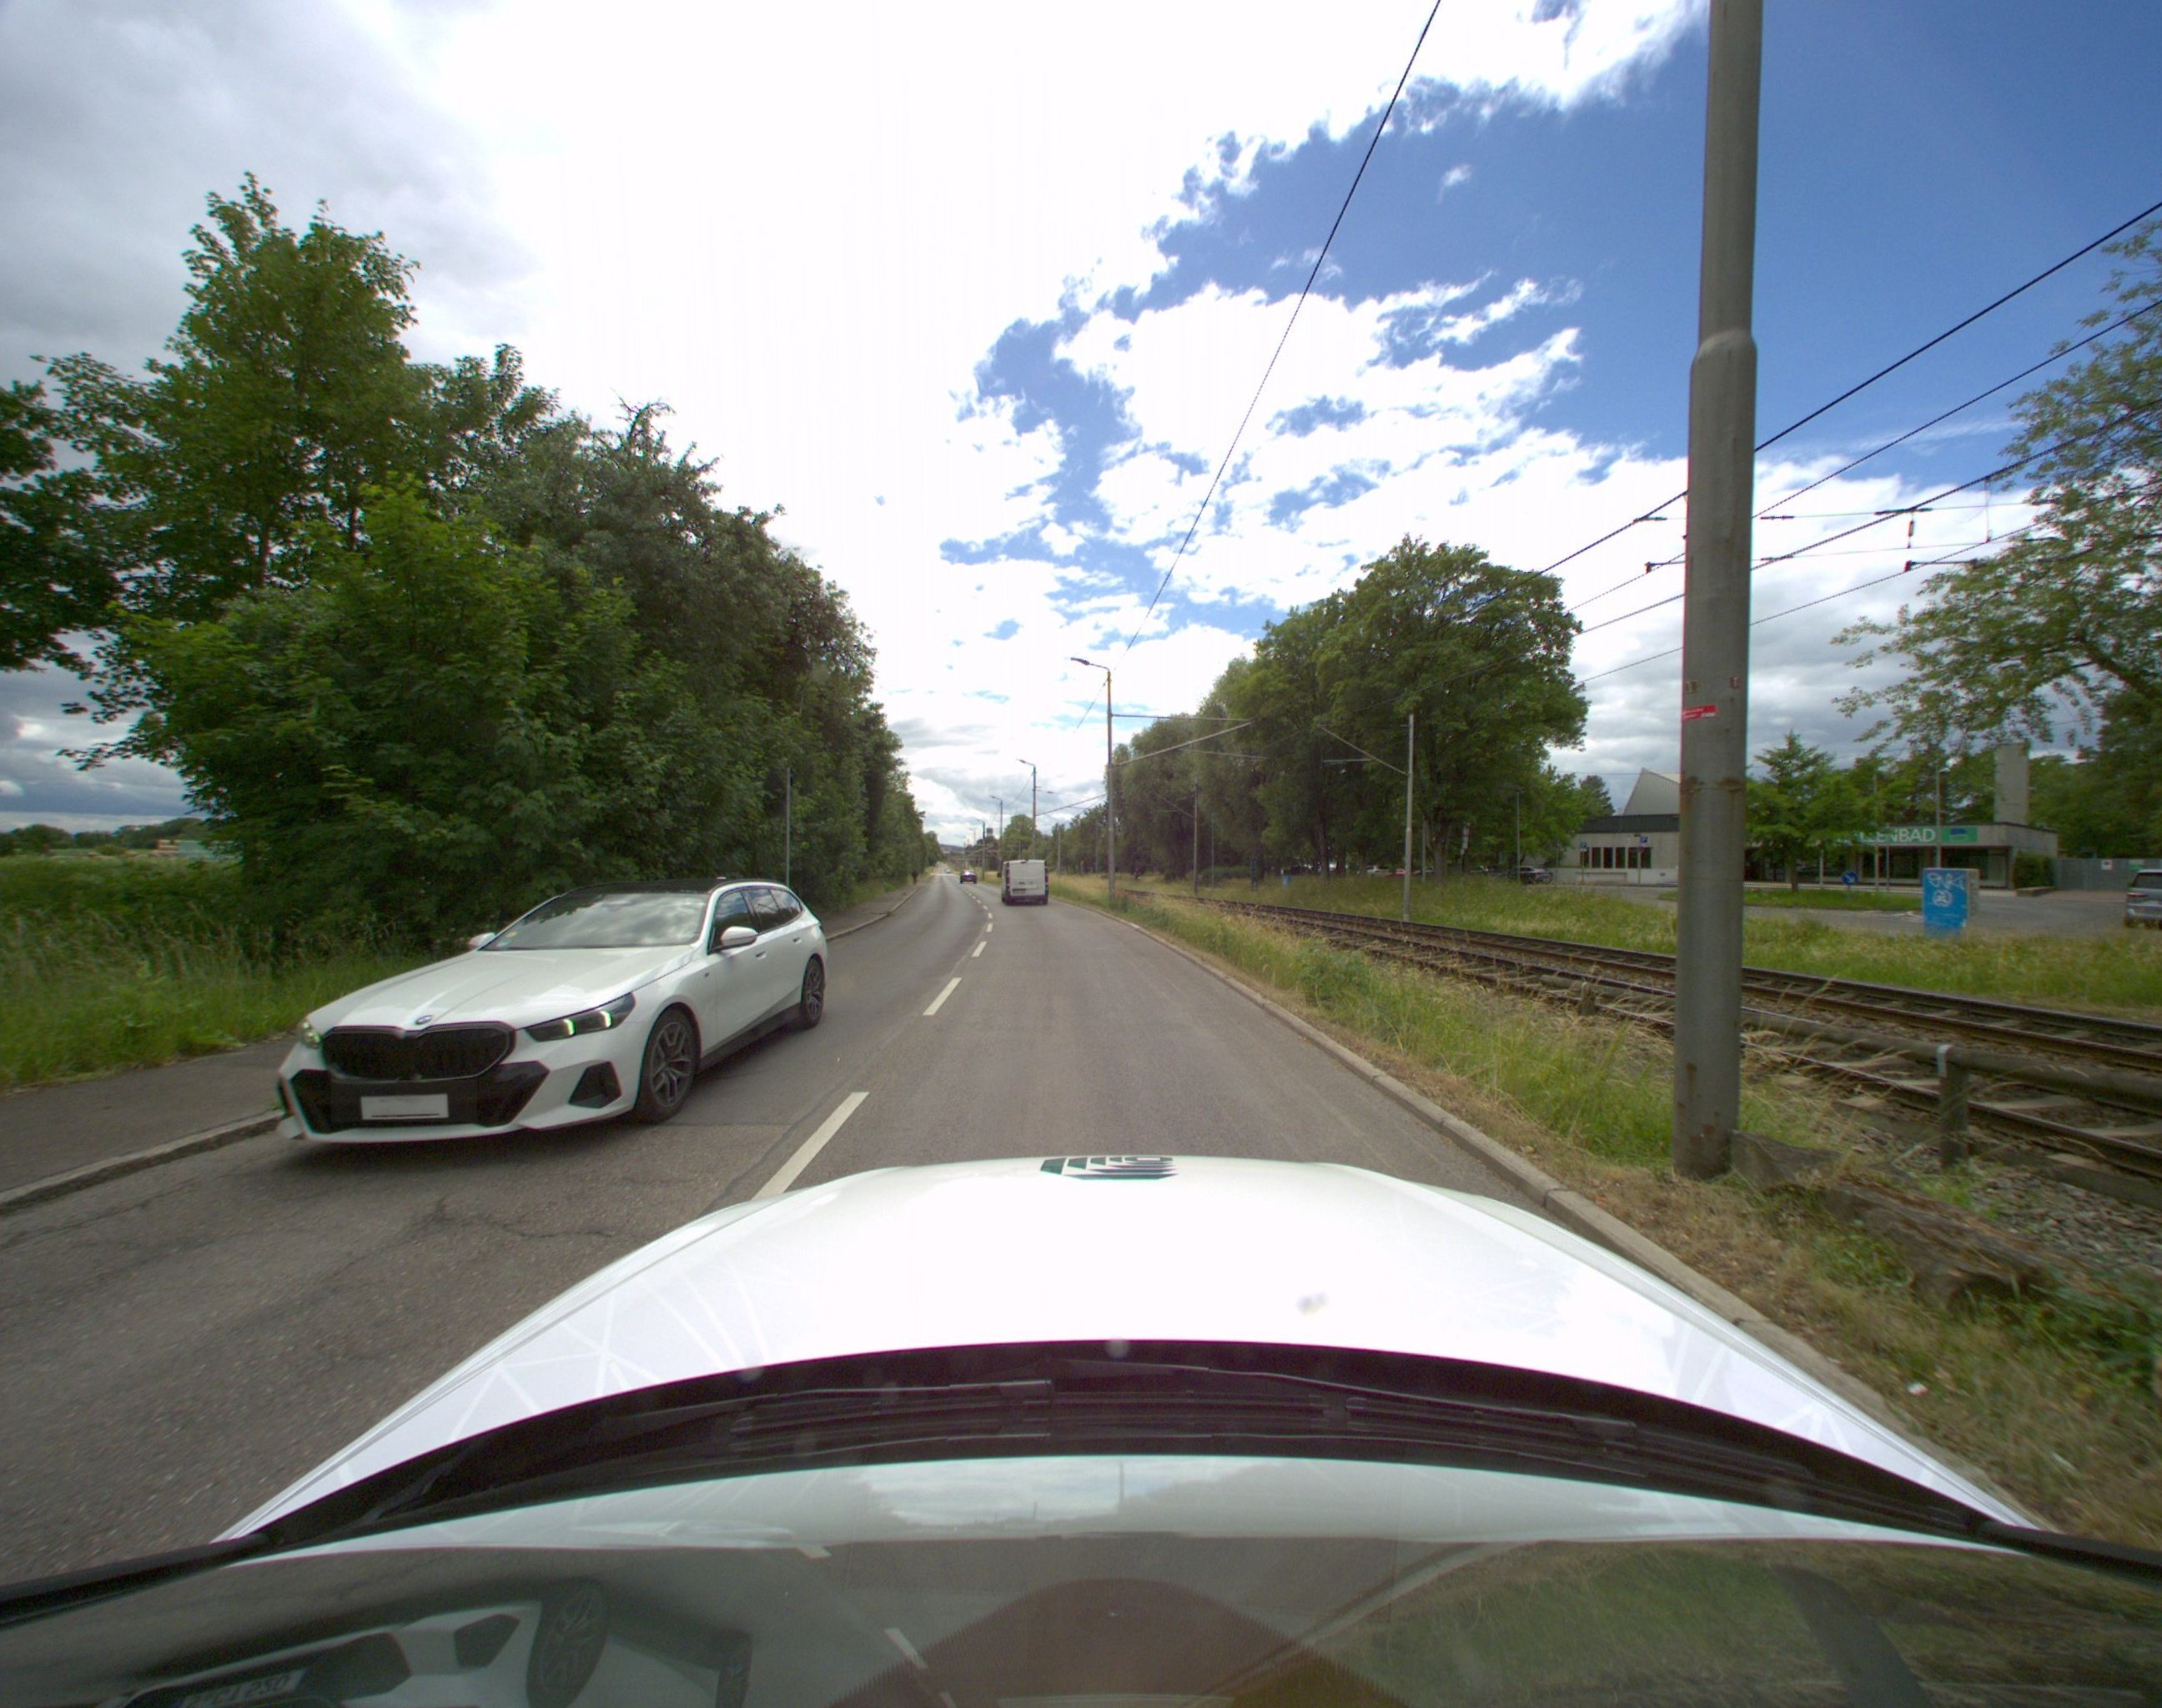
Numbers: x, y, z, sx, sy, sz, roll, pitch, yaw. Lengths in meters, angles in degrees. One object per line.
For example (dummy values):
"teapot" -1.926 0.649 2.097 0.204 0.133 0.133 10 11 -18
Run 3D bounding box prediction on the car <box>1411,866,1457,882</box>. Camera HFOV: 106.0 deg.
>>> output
"car" 32.145 1.829 74.305 1.993 1.443 3.986 0 -1 -10

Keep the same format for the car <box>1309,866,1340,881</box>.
"car" 28.599 2.257 95.660 1.992 1.700 3.989 1 -1 -8

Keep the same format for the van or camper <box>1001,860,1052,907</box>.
"van or camper" -2.518 1.299 36.554 1.941 1.897 4.272 -1 -1 -8

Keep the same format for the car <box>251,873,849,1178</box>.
"car" -3.506 0.962 6.702 1.925 1.522 4.655 -2 -1 -2

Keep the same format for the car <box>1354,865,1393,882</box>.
"car" 30.453 2.017 84.849 1.993 1.700 4.214 1 -1 -9

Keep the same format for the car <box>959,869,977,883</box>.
"car" -13.700 2.669 98.349 1.994 1.593 3.986 -1 -1 -10

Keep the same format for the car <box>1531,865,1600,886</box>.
"car" 34.925 1.518 58.816 1.993 1.443 4.331 0 -1 -10

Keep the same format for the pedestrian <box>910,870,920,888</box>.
"pedestrian" -17.276 2.614 84.653 0.869 1.770 0.786 -2 0 -14

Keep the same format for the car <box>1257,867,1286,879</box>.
"car" 29.348 2.930 125.461 2.008 1.812 3.956 1 -2 -35

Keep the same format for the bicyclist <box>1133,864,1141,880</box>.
"bicyclist" 6.213 1.987 90.491 0.581 1.696 0.931 1 -2 -13

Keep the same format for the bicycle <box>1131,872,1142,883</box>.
"bicycle" 6.171 2.605 90.657 0.581 1.246 1.920 0 -1 -13

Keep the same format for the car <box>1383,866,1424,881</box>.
"car" 31.362 1.909 79.263 1.993 1.443 3.986 0 -1 -10

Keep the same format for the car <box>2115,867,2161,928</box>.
"car" 34.835 1.350 25.995 4.732 1.861 1.897 1 -1 -34
